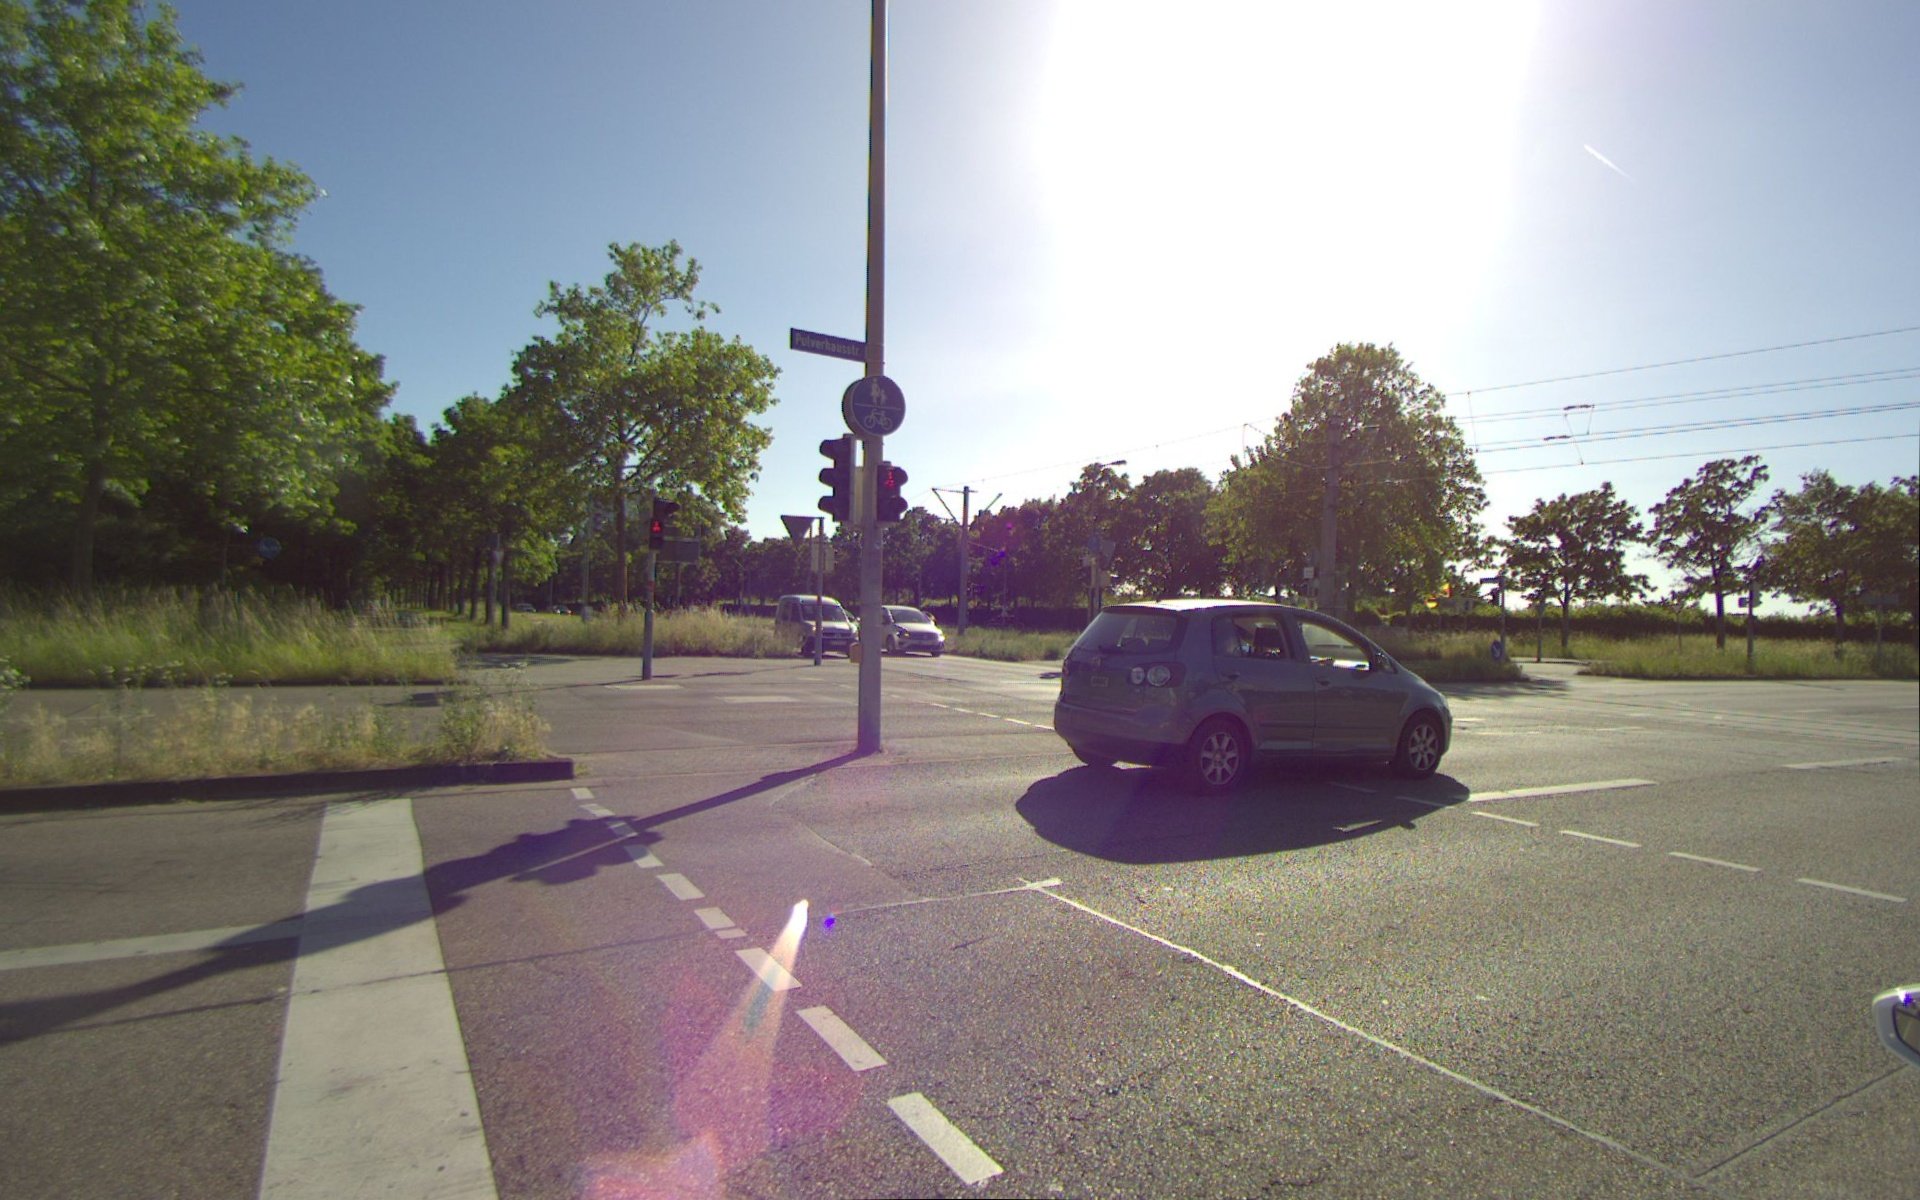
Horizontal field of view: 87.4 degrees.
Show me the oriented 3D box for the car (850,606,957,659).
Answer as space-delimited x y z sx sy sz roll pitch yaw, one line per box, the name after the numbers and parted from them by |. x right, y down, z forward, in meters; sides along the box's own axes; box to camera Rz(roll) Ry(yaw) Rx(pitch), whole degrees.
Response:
-1.903 1.033 32.893 1.832 1.581 3.891 2 0 -32 | car

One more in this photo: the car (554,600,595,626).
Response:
-24.302 0.804 63.249 1.831 1.581 3.894 2 -1 -30 | car

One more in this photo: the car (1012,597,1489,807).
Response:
2.815 0.858 9.483 4.334 1.591 1.833 2 -2 -30 | car

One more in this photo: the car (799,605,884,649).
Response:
-4.733 1.039 39.756 1.832 1.581 3.891 2 0 -32 | car

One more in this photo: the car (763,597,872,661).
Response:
-4.356 0.820 30.226 1.758 1.778 3.965 2 -1 -32 | car
